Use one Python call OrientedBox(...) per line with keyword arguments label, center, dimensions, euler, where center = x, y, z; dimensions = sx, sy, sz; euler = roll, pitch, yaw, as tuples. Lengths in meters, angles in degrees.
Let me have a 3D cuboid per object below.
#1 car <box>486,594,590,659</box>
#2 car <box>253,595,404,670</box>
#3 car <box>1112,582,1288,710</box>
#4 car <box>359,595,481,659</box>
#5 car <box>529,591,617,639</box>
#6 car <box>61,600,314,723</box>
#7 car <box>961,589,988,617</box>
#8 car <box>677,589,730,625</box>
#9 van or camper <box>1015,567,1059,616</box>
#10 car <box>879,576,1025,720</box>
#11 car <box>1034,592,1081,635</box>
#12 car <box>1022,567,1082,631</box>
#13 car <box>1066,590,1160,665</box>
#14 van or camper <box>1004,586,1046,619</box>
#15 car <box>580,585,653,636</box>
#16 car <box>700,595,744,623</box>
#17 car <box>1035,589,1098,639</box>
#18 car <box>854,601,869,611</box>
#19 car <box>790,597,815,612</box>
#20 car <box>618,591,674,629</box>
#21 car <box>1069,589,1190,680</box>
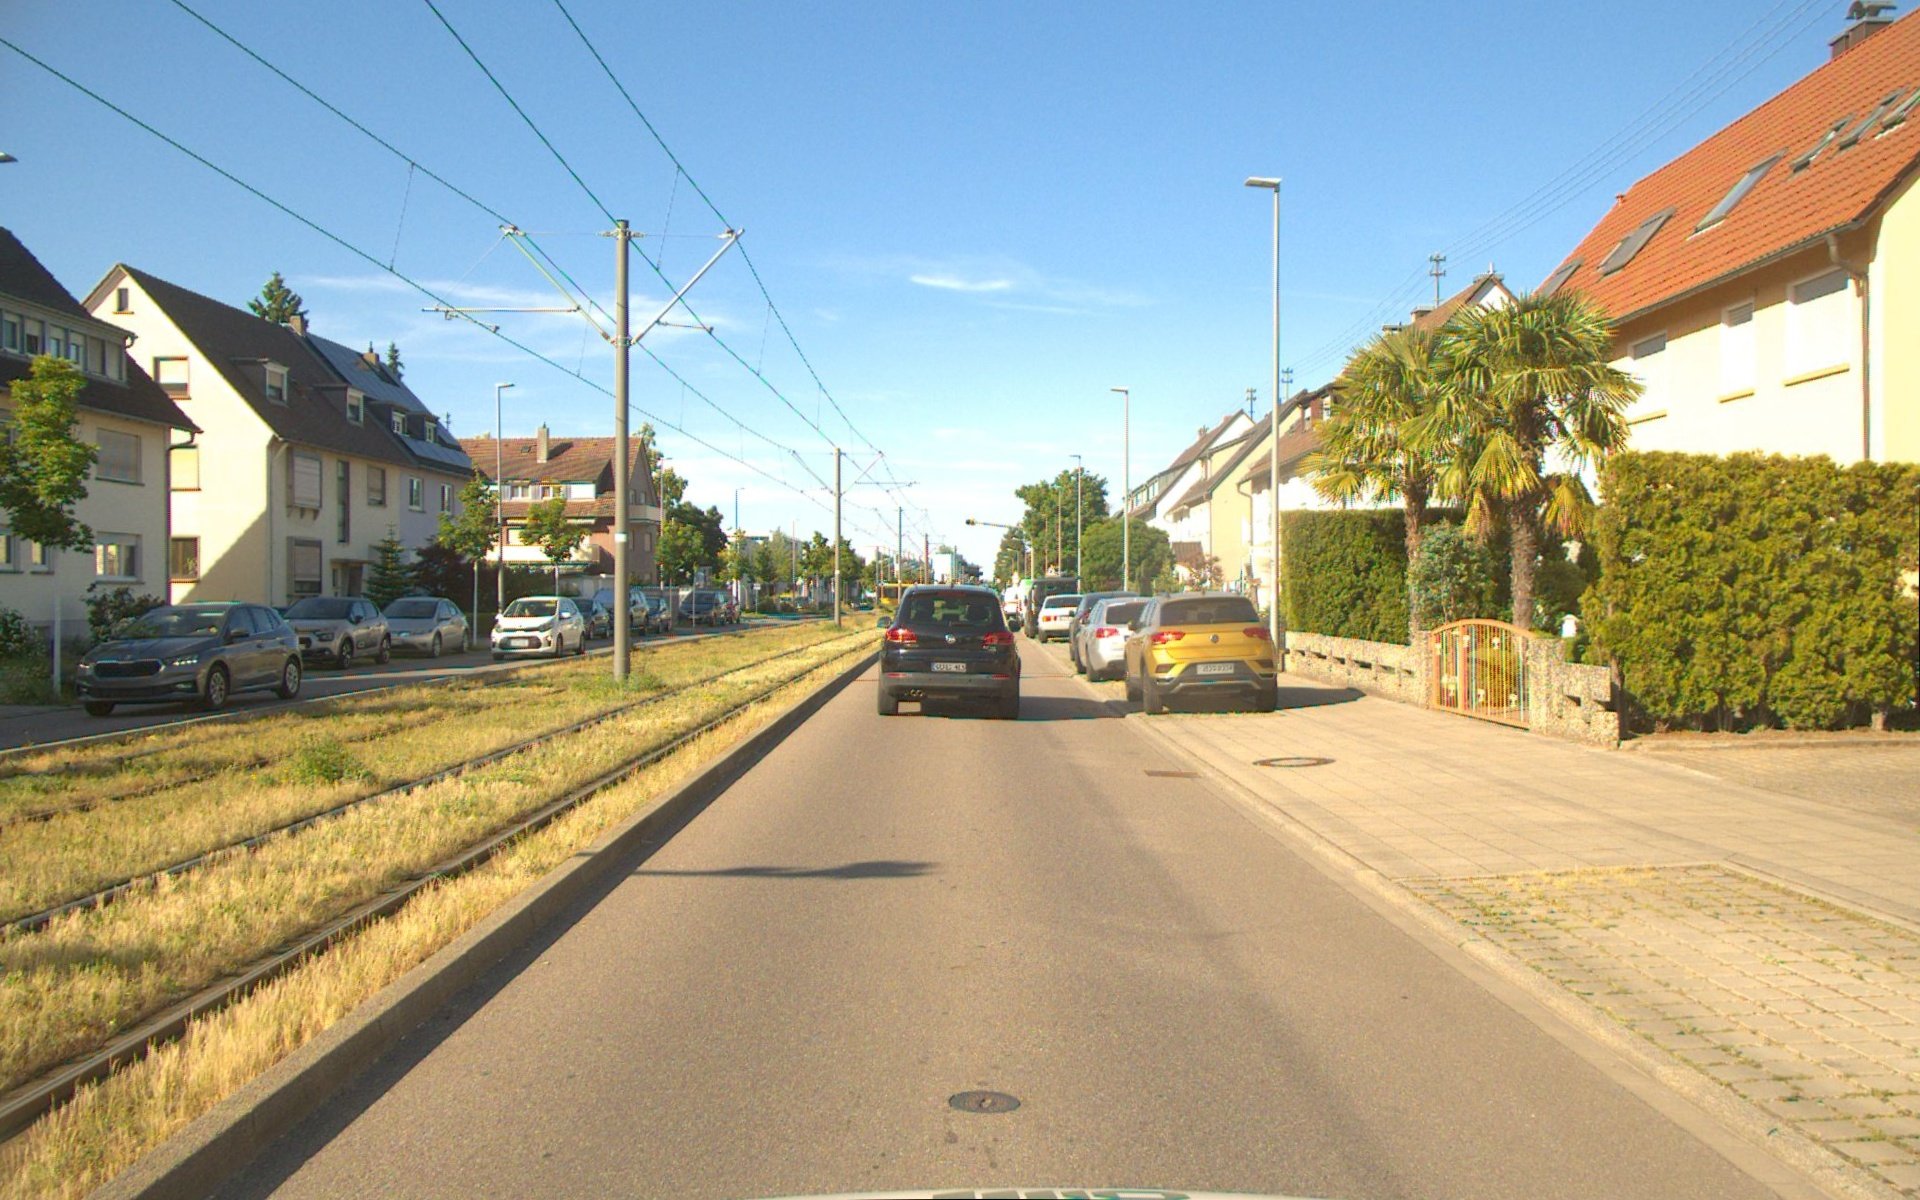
OrientedBox(label="car", center=(-10.285, 0.623, 40.506), dimensions=(1.654, 1.501, 3.679), euler=(0, 0, -1))
OrientedBox(label="car", center=(-13.584, 0.673, 35.839), dimensions=(1.654, 1.498, 4.314), euler=(1, 0, -1))
OrientedBox(label="car", center=(3.275, 0.591, 23.484), dimensions=(1.768, 1.586, 4.926), euler=(-1, 0, 0))
OrientedBox(label="car", center=(-13.570, 0.651, 41.836), dimensions=(1.654, 1.501, 4.442), euler=(1, 0, -1))
OrientedBox(label="car", center=(-13.496, 0.504, 57.981), dimensions=(1.920, 1.567, 4.557), euler=(1, 0, 1))
OrientedBox(label="car", center=(-10.677, 0.793, 23.198), dimensions=(1.654, 1.501, 4.082), euler=(-2, 0, -1))
OrientedBox(label="car", center=(0.995, 0.181, 113.334), dimensions=(1.595, 1.860, 4.128), euler=(0, 0, -3))
OrientedBox(label="car", center=(-12.841, 0.355, 83.077), dimensions=(1.782, 1.714, 4.847), euler=(2, 0, 1))
OrientedBox(label="van or camper", center=(3.790, -0.376, 82.625), dimensions=(1.952, 2.310, 6.305), euler=(-2, 0, 1))
OrientedBox(label="car", center=(-0.127, 0.593, 22.075), dimensions=(1.739, 1.699, 3.999), euler=(1, 0, -1))
OrientedBox(label="car", center=(3.958, 0.554, 67.809), dimensions=(1.690, 1.674, 4.319), euler=(-1, 0, 1))
OrientedBox(label="car", center=(3.305, -0.038, 60.116), dimensions=(1.919, 2.181, 5.336), euler=(-1, 0, 1))
OrientedBox(label="car", center=(3.304, 0.554, 36.375), dimensions=(1.740, 1.525, 4.729), euler=(0, 0, 1))
OrientedBox(label="van or camper", center=(4.084, 0.123, 103.337), dimensions=(1.984, 1.990, 5.299), euler=(0, 0, 9))
OrientedBox(label="car", center=(-13.276, 0.390, 64.225), dimensions=(1.709, 1.855, 4.842), euler=(2, 0, 1))
OrientedBox(label="car", center=(-12.800, 0.469, 89.043), dimensions=(1.660, 1.429, 4.079), euler=(0, 0, 1))
OrientedBox(label="car", center=(3.373, 0.414, 53.405), dimensions=(1.814, 1.469, 5.615), euler=(-2, 0, 2))
OrientedBox(label="car", center=(-13.820, 0.863, 232.293), dimensions=(1.653, 1.413, 4.389), euler=(-2, 0, 2))
OrientedBox(label="car", center=(-16.068, 0.443, 169.065), dimensions=(1.772, 1.486, 4.320), euler=(1, 0, 5))
OrientedBox(label="car", center=(-13.291, 0.411, 70.096), dimensions=(1.642, 1.517, 4.049), euler=(2, 0, -1))
OrientedBox(label="car", center=(3.055, 0.580, 30.660), dimensions=(1.712, 1.472, 4.698), euler=(-1, 1, 0))
